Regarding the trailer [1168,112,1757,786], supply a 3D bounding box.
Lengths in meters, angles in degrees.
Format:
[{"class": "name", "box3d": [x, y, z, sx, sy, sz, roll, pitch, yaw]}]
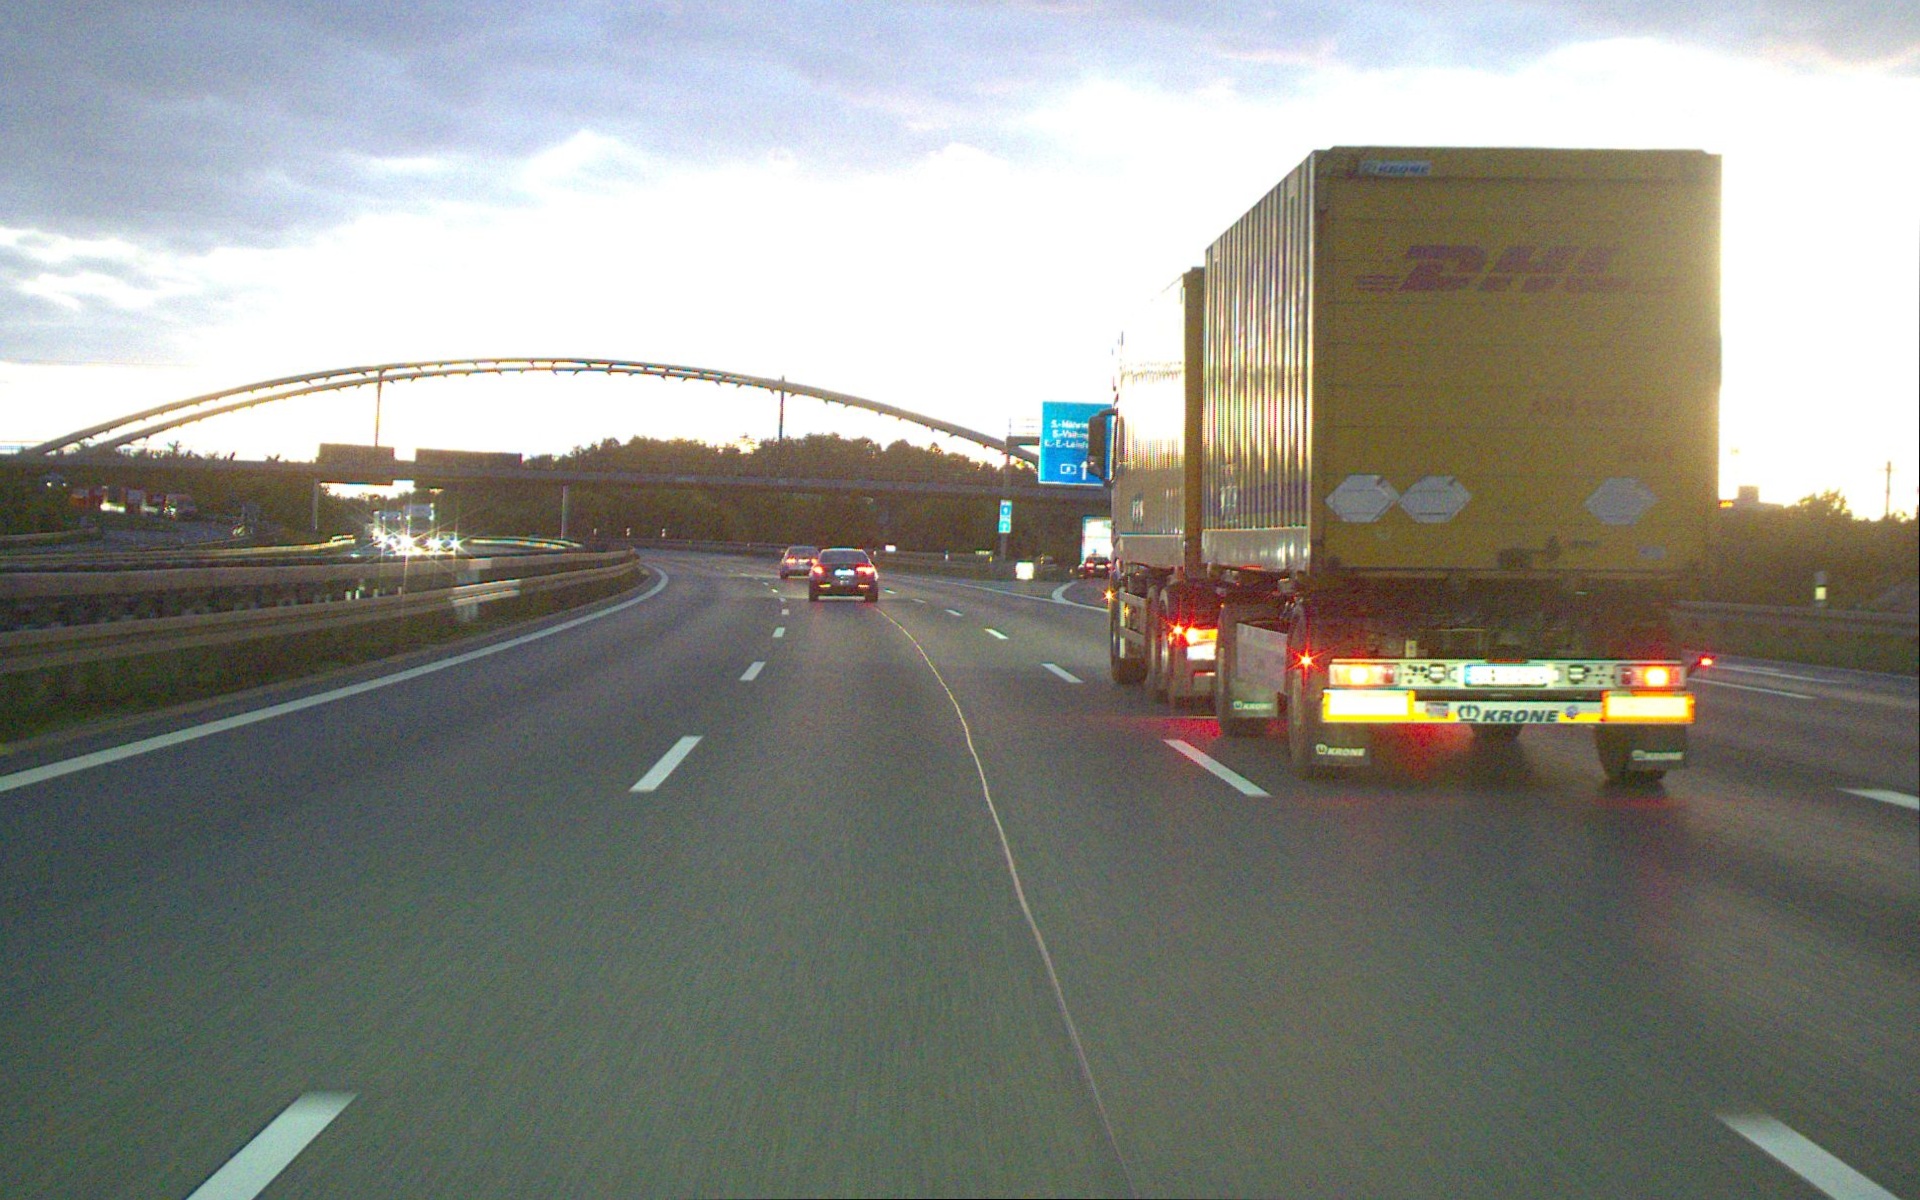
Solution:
[{"class": "trailer", "box3d": [3.325, -1.016, 25.337, 2.721, 4.057, 8.832, 1, 1, -2]}]

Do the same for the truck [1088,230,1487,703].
[{"class": "truck", "box3d": [3.029, -1.276, 35.022, 2.690, 4.057, 10.521, 1, 1, -2]}]

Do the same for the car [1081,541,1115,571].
[{"class": "car", "box3d": [8.620, -2.738, 214.732, 1.993, 1.711, 4.000, 2, -1, 1]}]

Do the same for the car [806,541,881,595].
[{"class": "car", "box3d": [-3.198, -0.860, 93.814, 1.689, 1.396, 3.409, 1, 0, -8]}]

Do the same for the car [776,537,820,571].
[{"class": "car", "box3d": [-7.055, -1.997, 149.626, 1.689, 1.397, 3.408, 0, -1, 1]}]

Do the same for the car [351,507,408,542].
[{"class": "car", "box3d": [-23.747, -3.104, 140.763, 1.993, 1.399, 4.799, 1, 1, -6]}]
